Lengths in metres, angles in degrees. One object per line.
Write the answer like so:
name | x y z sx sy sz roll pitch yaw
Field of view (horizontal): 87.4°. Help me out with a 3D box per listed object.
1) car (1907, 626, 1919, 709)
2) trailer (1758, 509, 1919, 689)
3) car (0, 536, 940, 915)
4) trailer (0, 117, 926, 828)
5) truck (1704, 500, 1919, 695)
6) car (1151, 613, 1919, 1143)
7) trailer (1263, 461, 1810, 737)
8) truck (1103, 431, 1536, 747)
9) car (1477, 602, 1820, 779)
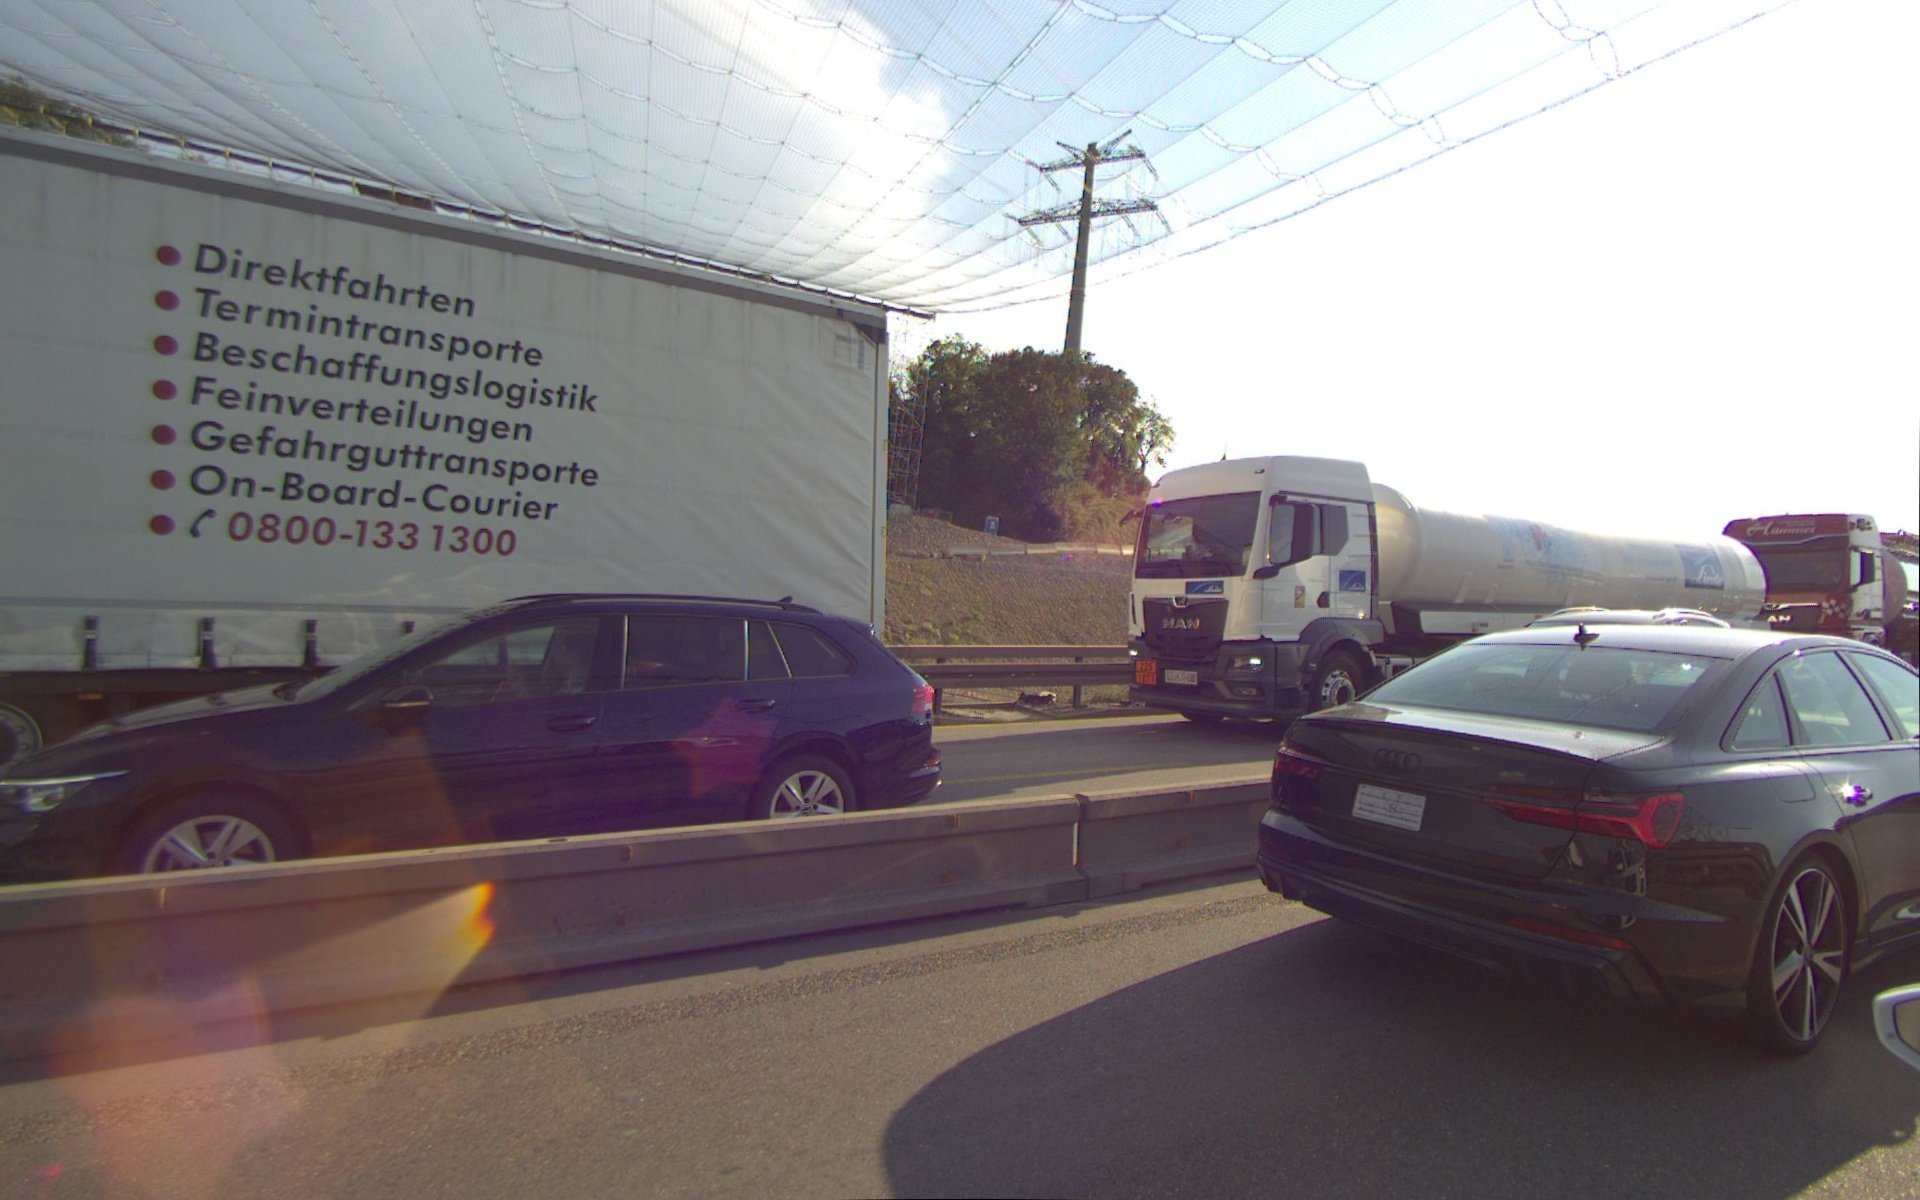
car | 19.015 1.260 18.335 4.343 1.445 1.617 2 0 -34
trailer | 24.247 0.152 25.631 11.921 3.840 2.294 2 0 -33
car | -2.381 0.520 5.458 4.192 1.416 1.786 2 0 -29
trailer | -6.904 -0.754 6.186 13.939 4.016 2.415 2 0 -31
truck | 19.154 0.021 22.323 5.558 3.835 2.418 2 0 -34
car | 3.453 0.833 4.832 4.901 1.417 1.926 1 0 -30
trailer | 10.033 0.155 16.475 11.916 3.406 2.295 2 0 -31
truck | 4.867 -0.044 13.342 5.553 3.415 2.401 2 0 -31
car | 7.618 0.891 11.030 3.901 1.608 1.740 2 0 -33
